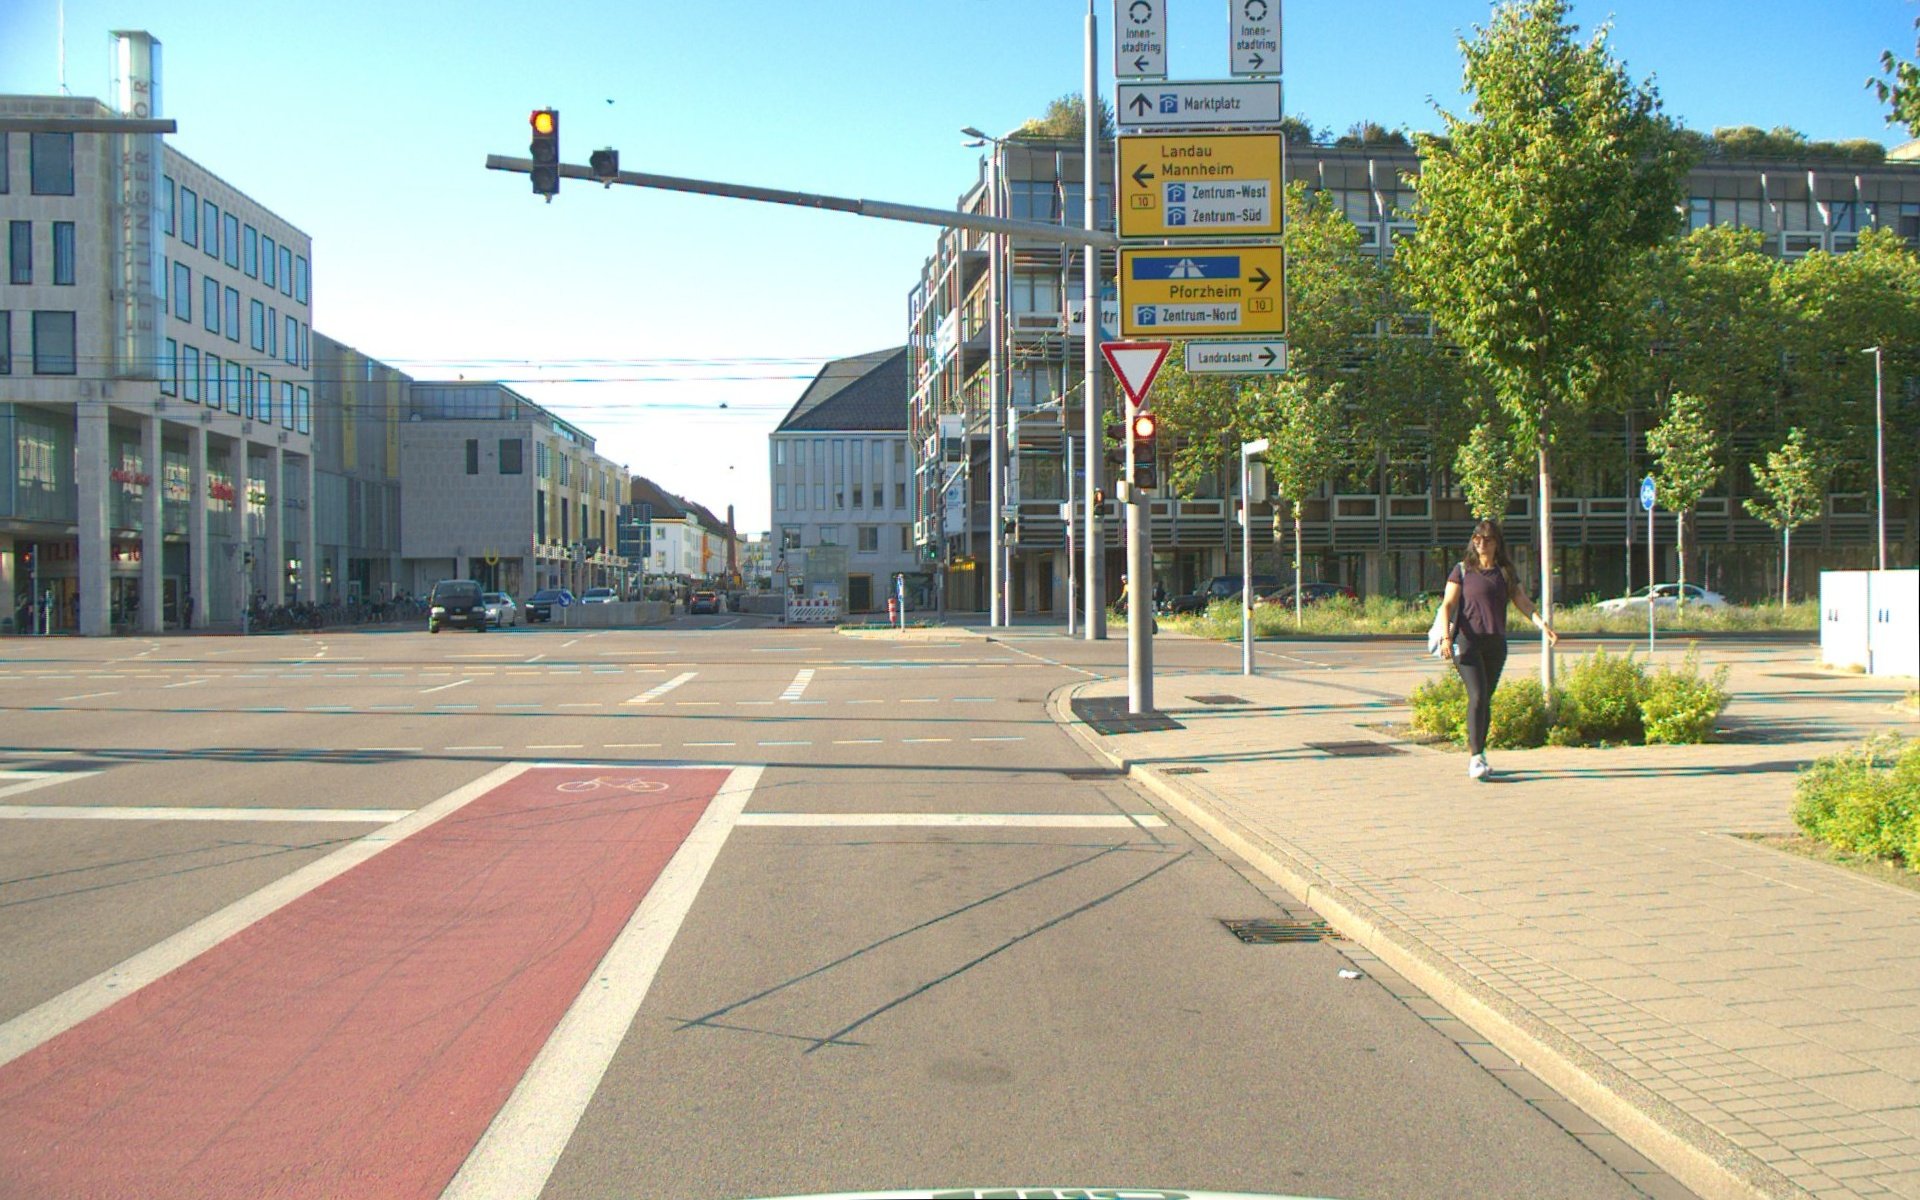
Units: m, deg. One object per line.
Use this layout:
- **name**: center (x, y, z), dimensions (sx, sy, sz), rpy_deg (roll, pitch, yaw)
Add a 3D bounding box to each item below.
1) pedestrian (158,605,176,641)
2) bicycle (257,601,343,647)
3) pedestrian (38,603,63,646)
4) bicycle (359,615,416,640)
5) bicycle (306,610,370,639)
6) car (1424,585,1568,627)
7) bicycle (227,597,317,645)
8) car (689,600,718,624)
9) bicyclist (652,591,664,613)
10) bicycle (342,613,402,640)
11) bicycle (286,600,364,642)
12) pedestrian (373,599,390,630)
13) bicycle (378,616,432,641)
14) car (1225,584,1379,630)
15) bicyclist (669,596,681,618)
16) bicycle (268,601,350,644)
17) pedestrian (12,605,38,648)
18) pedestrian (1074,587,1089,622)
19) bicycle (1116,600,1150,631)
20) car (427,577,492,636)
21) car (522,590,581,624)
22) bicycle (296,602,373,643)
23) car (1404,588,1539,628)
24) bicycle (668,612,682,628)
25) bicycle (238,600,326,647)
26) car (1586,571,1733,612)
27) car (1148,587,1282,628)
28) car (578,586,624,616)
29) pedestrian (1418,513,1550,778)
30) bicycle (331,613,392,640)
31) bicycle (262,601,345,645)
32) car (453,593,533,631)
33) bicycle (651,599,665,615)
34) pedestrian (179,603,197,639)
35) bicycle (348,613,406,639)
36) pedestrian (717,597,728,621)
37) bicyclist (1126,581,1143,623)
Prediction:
- **pedestrian**: center (-36.397, 1.035, 75.882), dimensions (0.618, 1.636, 0.644), rpy_deg (-1, 0, -38)
- **bicycle**: center (-30.967, 1.131, 77.621), dimensions (3.552, 2.049, 1.085), rpy_deg (-1, 0, -7)
- **pedestrian**: center (-35.121, 0.946, 63.892), dimensions (0.610, 1.636, 0.653), rpy_deg (-1, 0, -4)
- **bicycle**: center (-33.534, 1.612, 96.932), dimensions (2.992, 1.425, 0.901), rpy_deg (-1, 0, -7)
- **bicycle**: center (-32.550, 1.289, 86.550), dimensions (2.992, 1.425, 0.901), rpy_deg (-1, 0, -7)
- **car**: center (19.301, 0.209, 59.609), dimensions (4.542, 1.380, 1.998), rpy_deg (-1, 2, -7)
- **bicycle**: center (-31.079, 0.943, 74.815), dimensions (3.555, 2.049, 1.084), rpy_deg (-1, 0, -11)
- **car**: center (-17.788, 0.819, 114.877), dimensions (1.957, 1.579, 3.992), rpy_deg (-1, 0, -9)
- **bicyclist**: center (-20.629, 0.116, 112.957), dimensions (0.732, 1.486, 0.766), rpy_deg (-1, 0, -5)
- **bicycle**: center (-32.980, 1.496, 92.845), dimensions (2.992, 1.425, 0.901), rpy_deg (-1, 0, -7)
- **bicycle**: center (-32.133, 1.064, 83.749), dimensions (3.552, 2.049, 0.901), rpy_deg (-1, 0, -7)
- **pedestrian**: center (-30.290, 0.748, 86.602), dimensions (0.734, 1.636, 0.618), rpy_deg (-1, 0, -30)
- **bicycle**: center (-33.910, 1.721, 101.050), dimensions (2.992, 1.425, 0.901), rpy_deg (-1, 0, -7)
- **car**: center (11.111, 0.215, 53.877), dimensions (4.542, 1.380, 1.998), rpy_deg (-1, 2, -7)
- **bicyclist**: center (-19.625, 0.504, 113.707), dimensions (0.732, 1.486, 0.766), rpy_deg (-1, 0, -5)
- **bicycle**: center (-32.137, 1.101, 81.657), dimensions (3.552, 2.049, 1.085), rpy_deg (-1, 0, -7)
- **pedestrian**: center (-36.113, 1.037, 63.887), dimensions (0.610, 1.636, 0.653), rpy_deg (-1, 0, -4)
- **pedestrian**: center (5.389, 0.185, 73.155), dimensions (0.609, 1.545, 0.654), rpy_deg (-1, 0, 6)
- **bicycle**: center (5.713, 0.513, 54.578), dimensions (1.054, 0.988, 0.458), rpy_deg (-1, 0, -1)
- **car**: center (-16.472, 0.161, 54.464), dimensions (1.962, 1.772, 4.624), rpy_deg (-1, 2, -17)
- **car**: center (-19.719, 0.323, 79.981), dimensions (1.953, 1.556, 4.034), rpy_deg (-1, 1, -2)
- **bicycle**: center (-32.354, 1.155, 85.582), dimensions (3.552, 2.049, 0.901), rpy_deg (-1, 0, -7)
- **car**: center (19.523, 0.291, 63.240), dimensions (4.542, 1.380, 1.998), rpy_deg (-1, 2, -7)
- **bicycle**: center (-19.591, 1.351, 113.717), dimensions (0.727, 1.064, 2.428), rpy_deg (-1, 0, -6)
- **bicycle**: center (-31.183, 1.087, 76.149), dimensions (3.552, 2.049, 1.085), rpy_deg (-1, 0, -7)
- **car**: center (25.399, -0.330, 60.149), dimensions (4.542, 1.380, 1.998), rpy_deg (-1, 2, -7)
- **car**: center (9.446, 0.262, 61.439), dimensions (4.542, 1.380, 1.998), rpy_deg (-1, 2, -7)
- **car**: center (-20.460, 0.042, 94.358), dimensions (1.954, 1.651, 4.235), rpy_deg (-1, 1, -4)
- **pedestrian**: center (3.725, 0.311, 11.738), dimensions (0.804, 1.779, 1.042), rpy_deg (-2, 0, 19)
- **bicycle**: center (-32.898, 1.454, 90.960), dimensions (2.992, 1.425, 0.901), rpy_deg (-1, 0, -7)
- **bicycle**: center (-31.962, 1.090, 80.518), dimensions (3.552, 2.049, 1.085), rpy_deg (-1, 0, -7)
- **car**: center (-19.508, 0.471, 69.280), dimensions (1.952, 1.380, 4.647), rpy_deg (0, 2, 0)
- **bicycle**: center (-20.654, 0.483, 112.982), dimensions (0.727, 1.064, 2.428), rpy_deg (-1, 0, -6)
- **pedestrian**: center (-35.810, 0.964, 76.694), dimensions (0.618, 1.636, 0.644), rpy_deg (-1, 0, -38)
- **bicycle**: center (-33.216, 1.488, 94.247), dimensions (2.992, 1.425, 0.901), rpy_deg (-1, 0, -7)
- **pedestrian**: center (-16.591, 0.626, 115.346), dimensions (0.700, 1.697, 0.986), rpy_deg (-1, 0, -6)
- **bicyclist**: center (5.759, 0.068, 54.584), dimensions (0.498, 1.361, 0.452), rpy_deg (-1, 0, 0)
